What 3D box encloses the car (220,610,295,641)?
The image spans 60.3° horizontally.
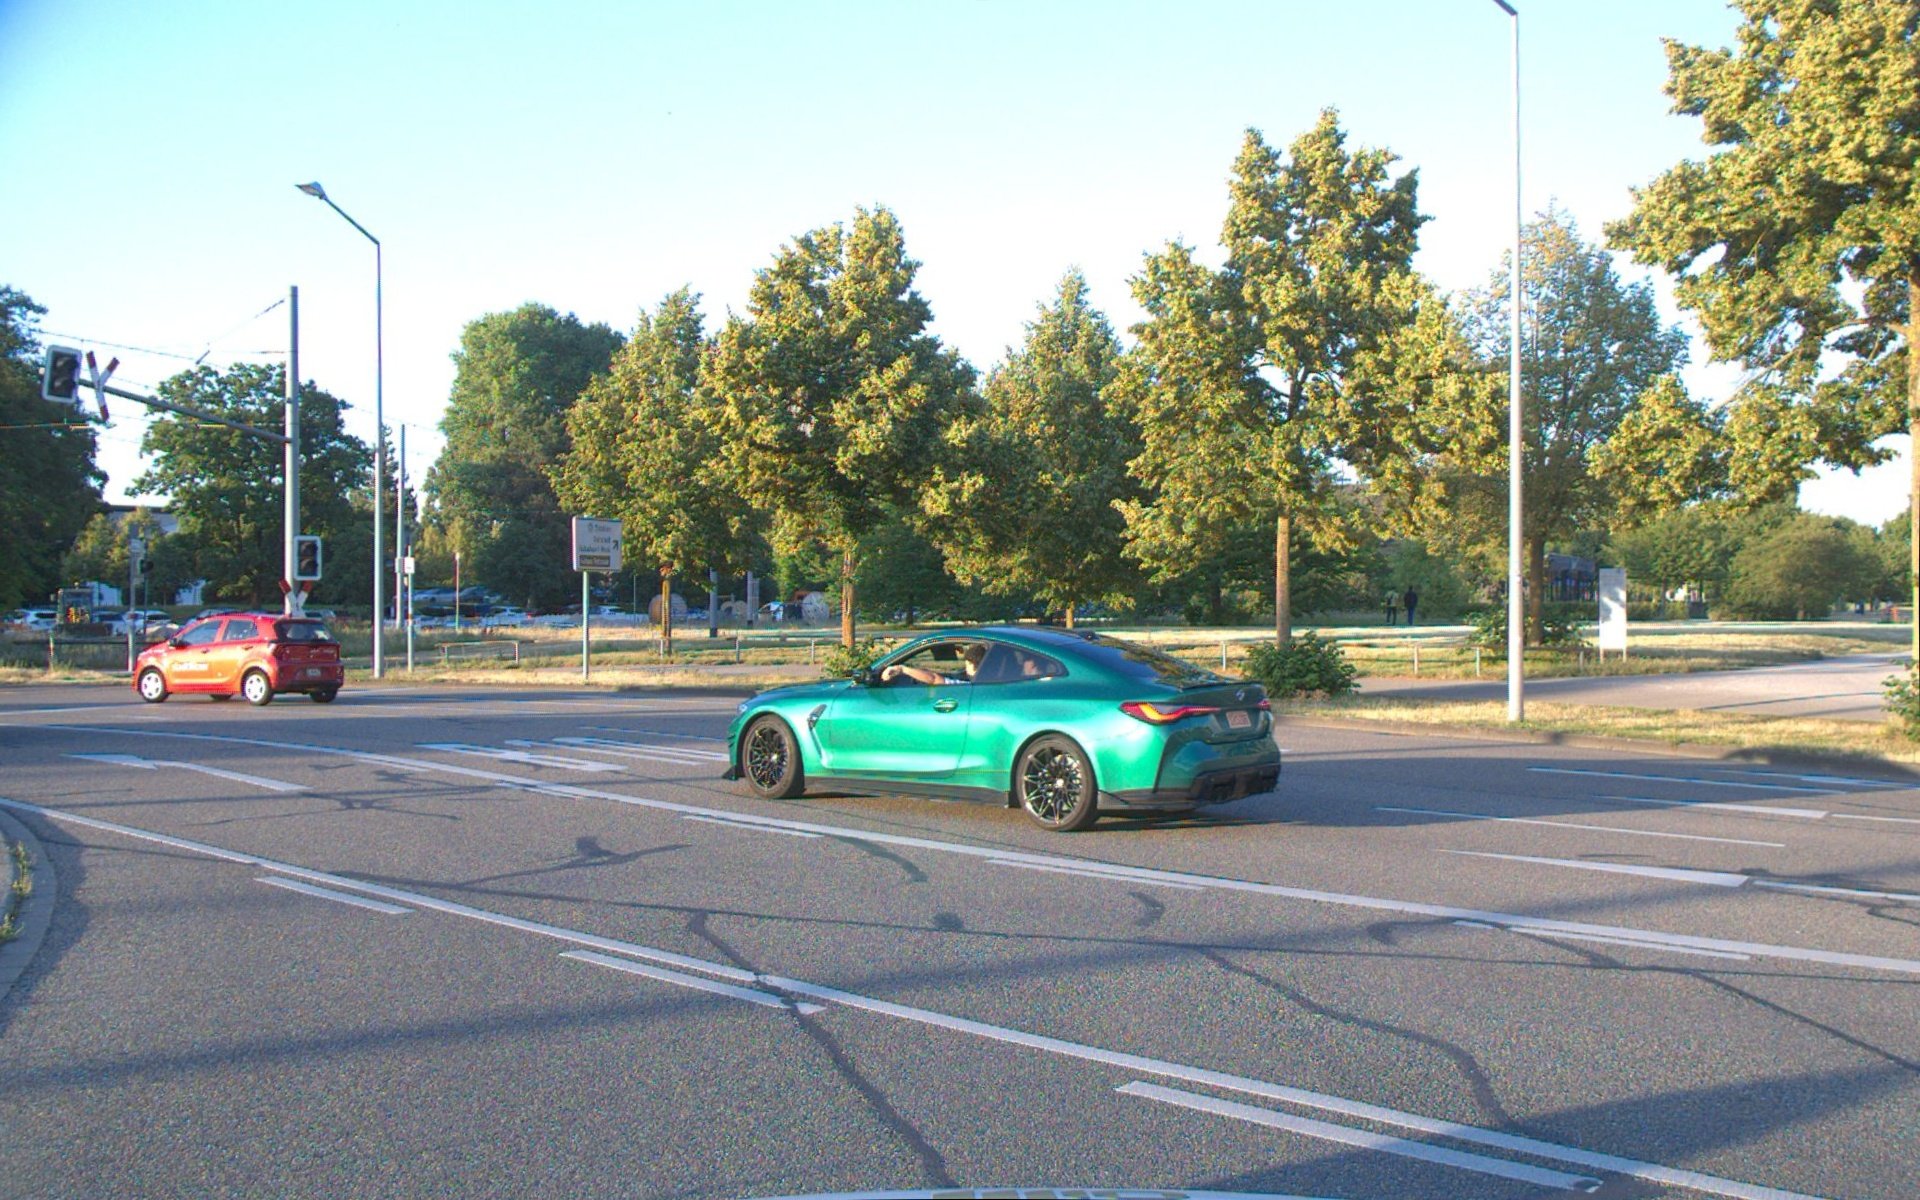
[{"bbox_3d":[-39.081,1.399,92.031,3.915,1.632,1.995,0,0,32],"label":"car"}]

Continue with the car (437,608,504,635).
[{"bbox_3d":[-30.969,1.327,104.672,3.915,1.632,1.995,0,0,32],"label":"car"}]

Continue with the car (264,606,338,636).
[{"bbox_3d":[-37.381,1.171,93.857,3.915,1.632,1.995,0,0,32],"label":"car"}]

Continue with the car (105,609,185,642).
[{"bbox_3d":[-42.248,1.318,85.774,3.915,1.632,1.995,0,0,32],"label":"car"}]

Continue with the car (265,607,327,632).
[{"bbox_3d":[-45.810,1.325,114.098,3.933,1.691,1.889,0,0,-23],"label":"car"}]

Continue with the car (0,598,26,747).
[{"bbox_3d":[-12.421,0.791,18.442,3.915,1.612,1.891,0,0,32],"label":"car"}]

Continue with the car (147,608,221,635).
[{"bbox_3d":[-50.224,1.374,107.070,1.863,1.691,3.987,0,0,34],"label":"car"}]

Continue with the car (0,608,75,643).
[{"bbox_3d":[-45.618,1.242,81.421,3.915,1.632,1.995,0,0,32],"label":"car"}]

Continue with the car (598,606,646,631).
[{"bbox_3d":[-26.358,1.398,128.867,1.979,1.782,4.538,0,1,-37],"label":"car"}]

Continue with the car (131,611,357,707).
[{"bbox_3d":[-12.169,0.957,28.128,3.409,1.526,1.642,0,0,23],"label":"car"}]

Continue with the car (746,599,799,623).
[{"bbox_3d":[-12.996,0.764,114.660,1.724,1.646,3.940,0,0,-41],"label":"car"}]

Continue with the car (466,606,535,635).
[{"bbox_3d":[-32.518,1.445,117.142,4.499,2.049,1.996,0,0,-9],"label":"car"}]

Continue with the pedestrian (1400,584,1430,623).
[{"bbox_3d":[19.347,0.134,70.348,1.047,1.646,0.911,0,0,2],"label":"pedestrian"}]

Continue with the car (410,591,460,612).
[{"bbox_3d":[-47.945,0.120,151.050,1.959,1.847,3.987,0,0,34],"label":"car"}]

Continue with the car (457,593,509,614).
[{"bbox_3d":[-41.683,0.302,144.711,3.902,1.736,2.001,0,0,6],"label":"car"}]

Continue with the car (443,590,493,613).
[{"bbox_3d":[-44.083,0.116,148.223,1.963,2.049,3.979,0,0,40],"label":"car"}]

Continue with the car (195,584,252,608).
[{"bbox_3d":[-63.369,-0.319,142.347,1.958,2.049,4.105,0,0,33],"label":"car"}]

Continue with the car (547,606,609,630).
[{"bbox_3d":[-26.263,1.240,113.662,3.915,1.632,1.995,0,0,32],"label":"car"}]

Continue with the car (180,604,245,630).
[{"bbox_3d":[-50.554,1.114,111.857,3.939,1.691,1.983,0,0,-27],"label":"car"}]

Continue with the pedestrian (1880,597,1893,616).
[{"bbox_3d":[84.635,0.579,151.099,0.834,1.690,0.979,0,0,19],"label":"pedestrian"}]

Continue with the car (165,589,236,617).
[{"bbox_3d":[-56.641,0.244,123.477,1.956,2.049,4.590,0,0,29],"label":"car"}]

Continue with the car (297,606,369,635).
[{"bbox_3d":[-36.437,1.196,96.075,3.915,1.632,1.995,0,0,32],"label":"car"}]

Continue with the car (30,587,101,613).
[{"bbox_3d":[-70.527,-0.018,130.451,1.956,2.049,4.590,0,0,29],"label":"car"}]

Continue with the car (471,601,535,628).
[{"bbox_3d":[-34.587,1.089,125.250,4.499,2.049,1.996,0,0,-9],"label":"car"}]

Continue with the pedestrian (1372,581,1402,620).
[{"bbox_3d":[18.204,0.016,70.569,1.047,1.646,0.911,0,0,2],"label":"pedestrian"}]

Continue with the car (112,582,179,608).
[{"bbox_3d":[-67.111,-0.407,136.325,1.958,2.049,4.585,0,0,33],"label":"car"}]

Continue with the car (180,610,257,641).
[{"bbox_3d":[-40.524,1.367,90.363,3.915,1.632,1.995,0,0,32],"label":"car"}]

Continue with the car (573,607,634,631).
[{"bbox_3d":[-24.894,1.326,115.411,3.915,1.632,1.995,0,0,32],"label":"car"}]

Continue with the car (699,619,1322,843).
[{"bbox_3d":[0.272,0.878,12.976,4.643,1.395,1.991,0,0,38],"label":"car"}]
